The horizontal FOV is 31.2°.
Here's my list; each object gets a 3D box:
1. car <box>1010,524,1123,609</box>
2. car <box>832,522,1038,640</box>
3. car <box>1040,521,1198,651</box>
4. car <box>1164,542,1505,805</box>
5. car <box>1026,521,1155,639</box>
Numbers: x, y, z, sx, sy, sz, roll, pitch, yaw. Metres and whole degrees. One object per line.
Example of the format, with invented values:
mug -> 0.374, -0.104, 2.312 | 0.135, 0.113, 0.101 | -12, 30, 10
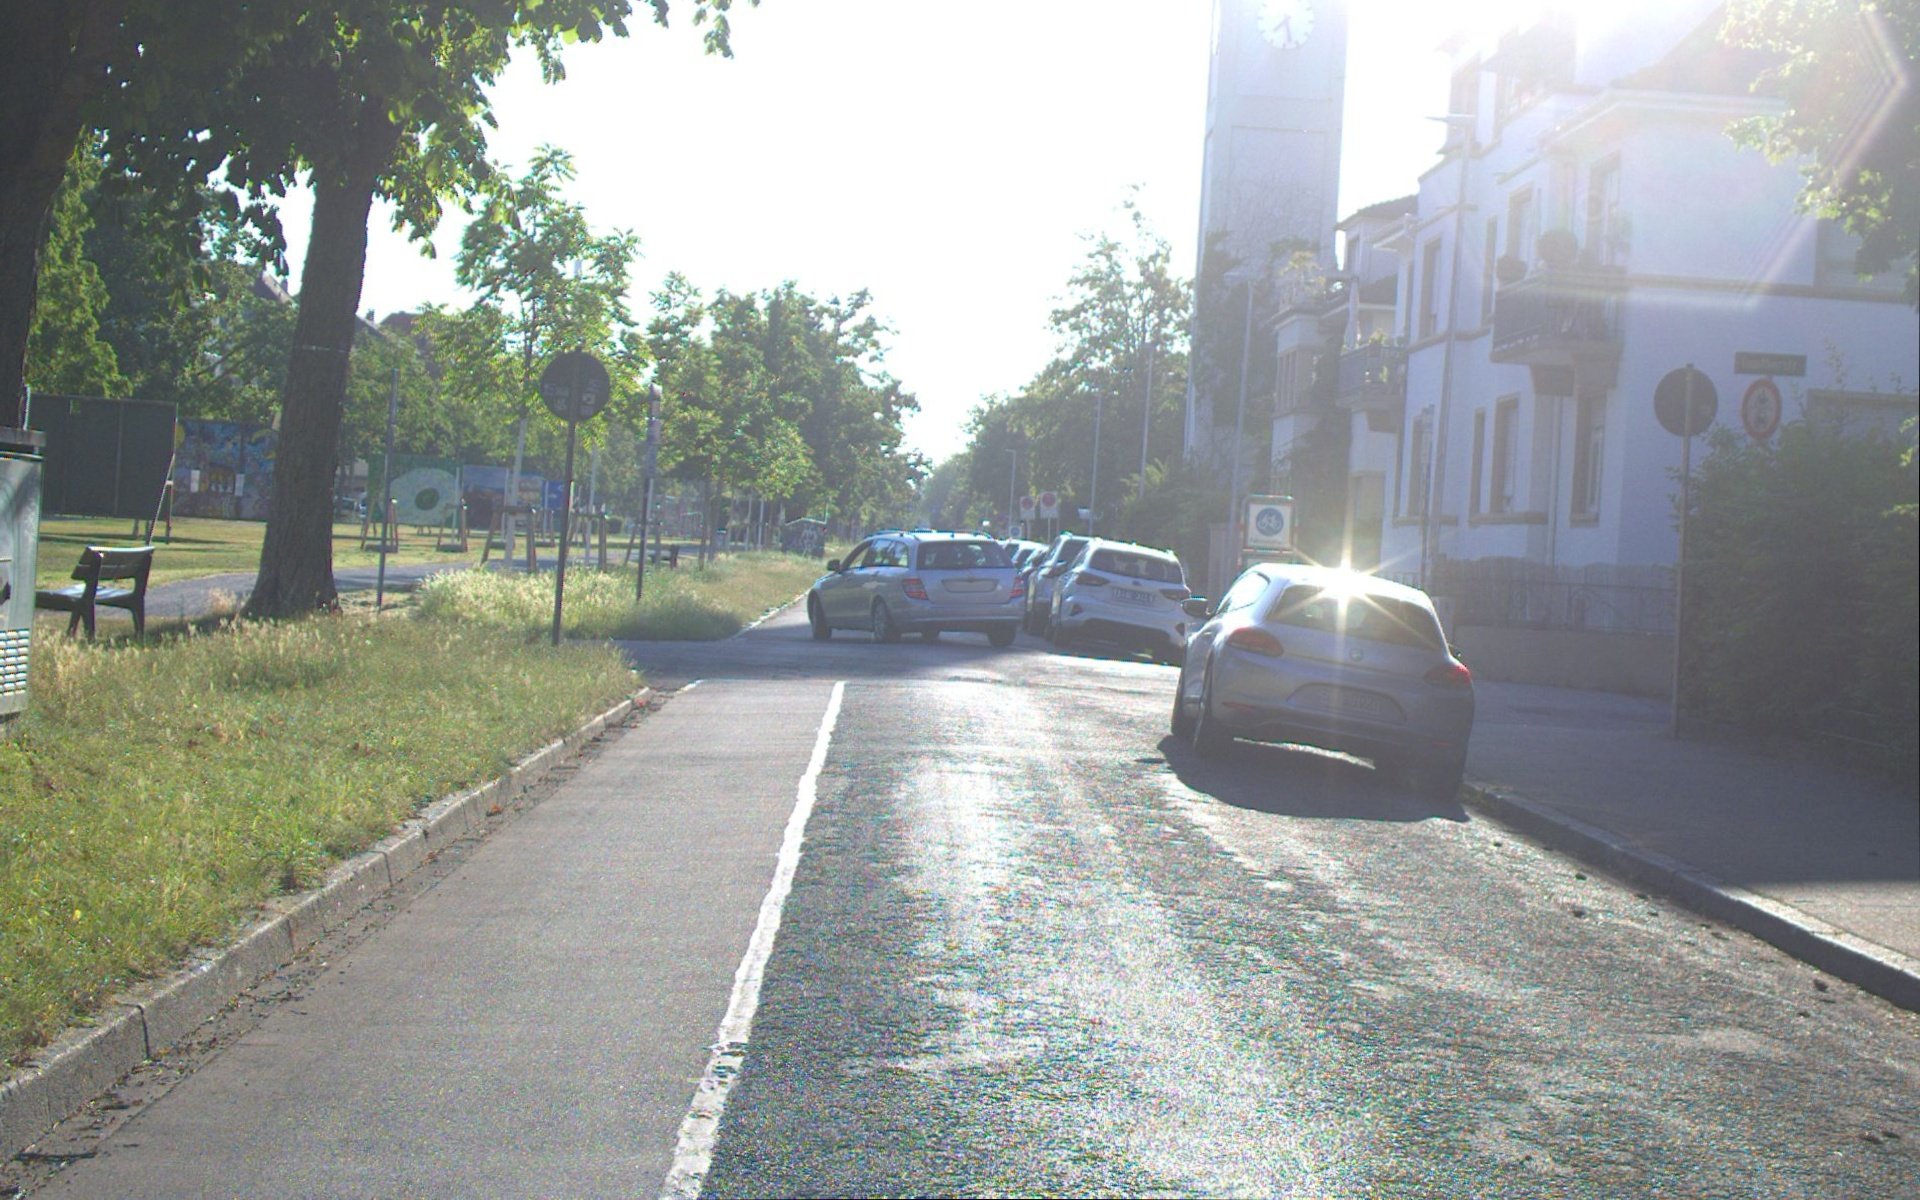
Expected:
car -> 1.912, -0.639, 62.928 | 1.760, 1.415, 4.001 | 2, 2, -2
car -> -0.375, -0.283, 44.437 | 1.760, 1.415, 4.002 | 0, 2, -14
car -> 2.160, -0.235, 47.769 | 1.758, 1.599, 4.359 | 3, 2, -2
car -> 2.564, 0.449, 24.476 | 1.757, 1.415, 4.072 | 9, 1, -1
car -> 1.991, -0.342, 53.543 | 1.685, 1.645, 4.100 | 3, 2, -1
